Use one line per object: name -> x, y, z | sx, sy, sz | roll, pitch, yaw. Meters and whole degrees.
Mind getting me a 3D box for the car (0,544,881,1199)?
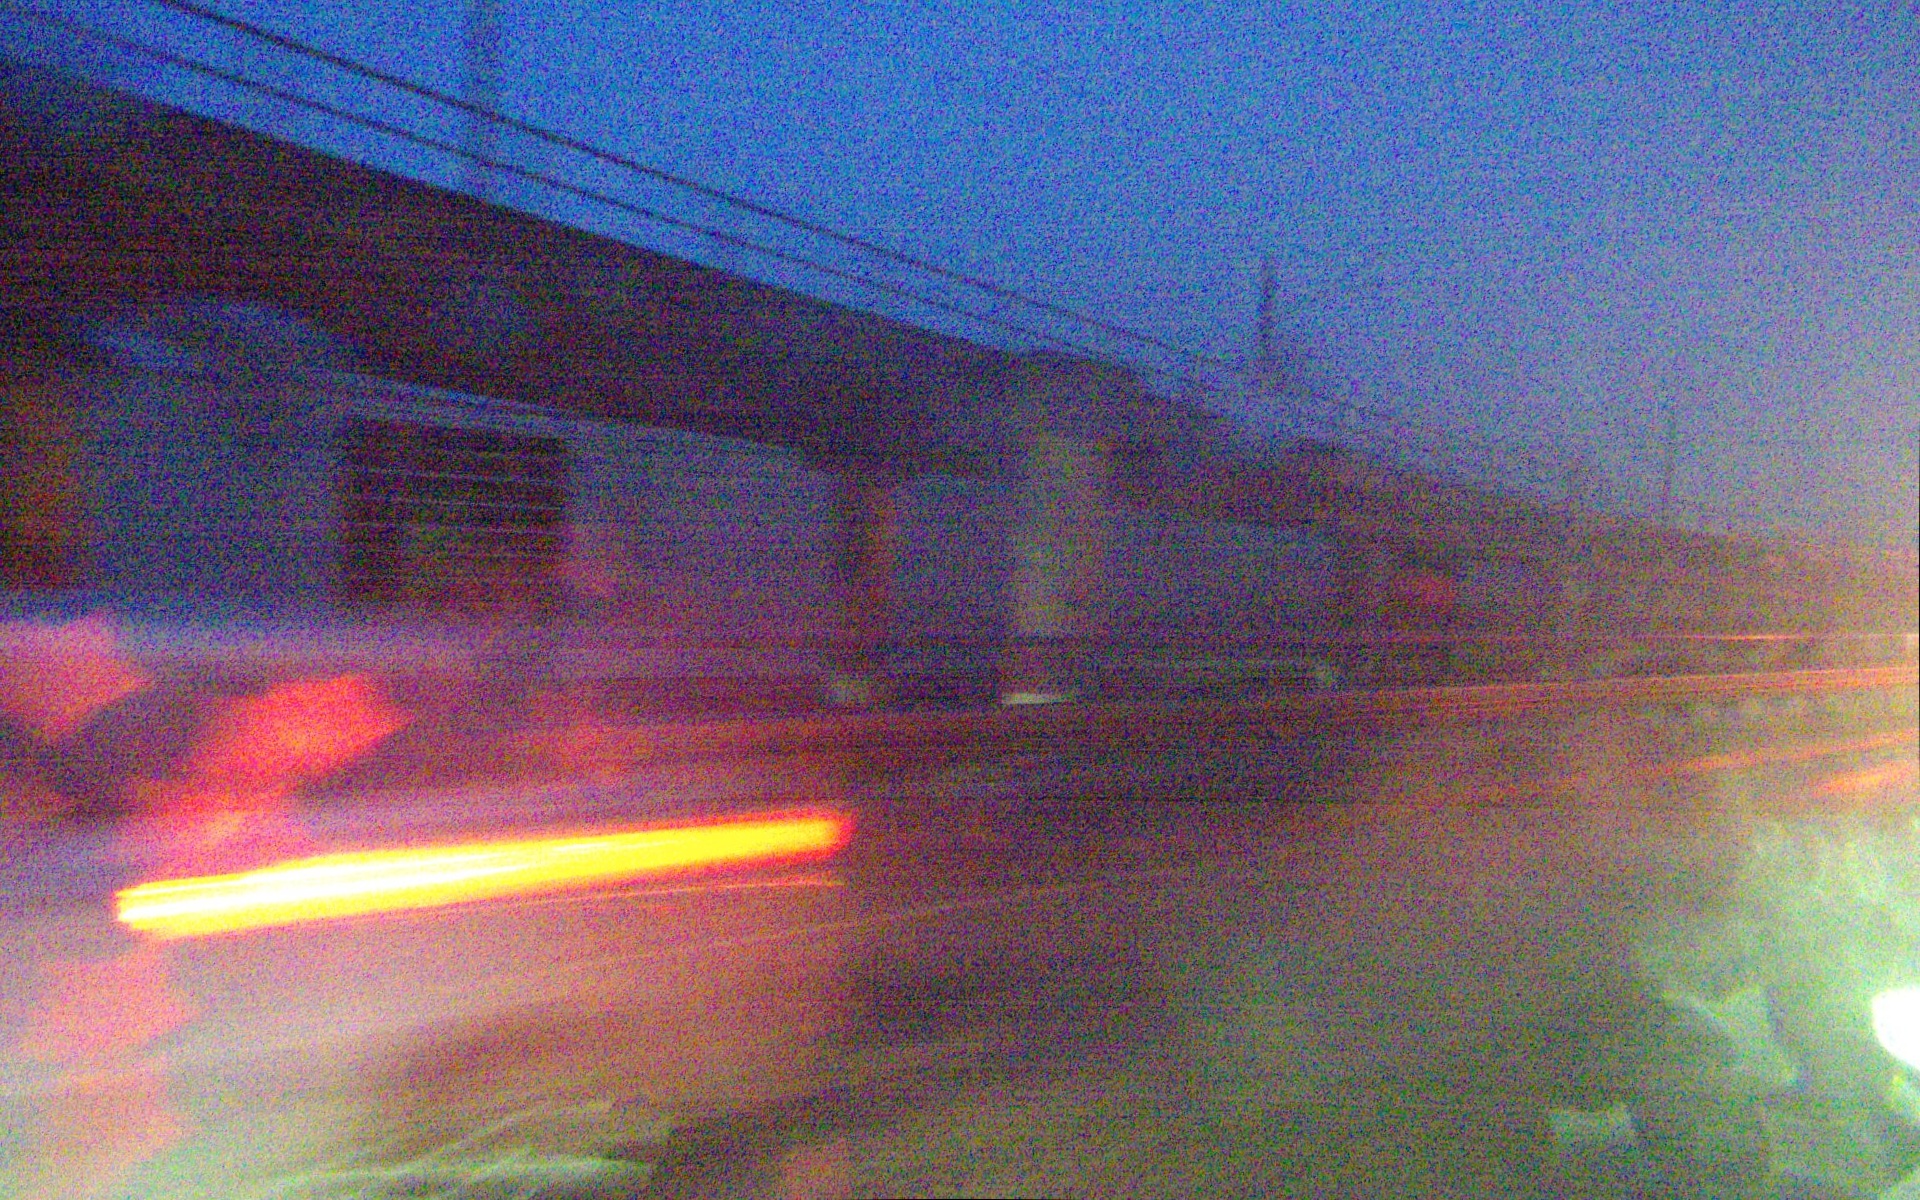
car -> -2.453, 0.673, 2.228 | 4.181, 1.565, 1.852 | 0, 1, -32
